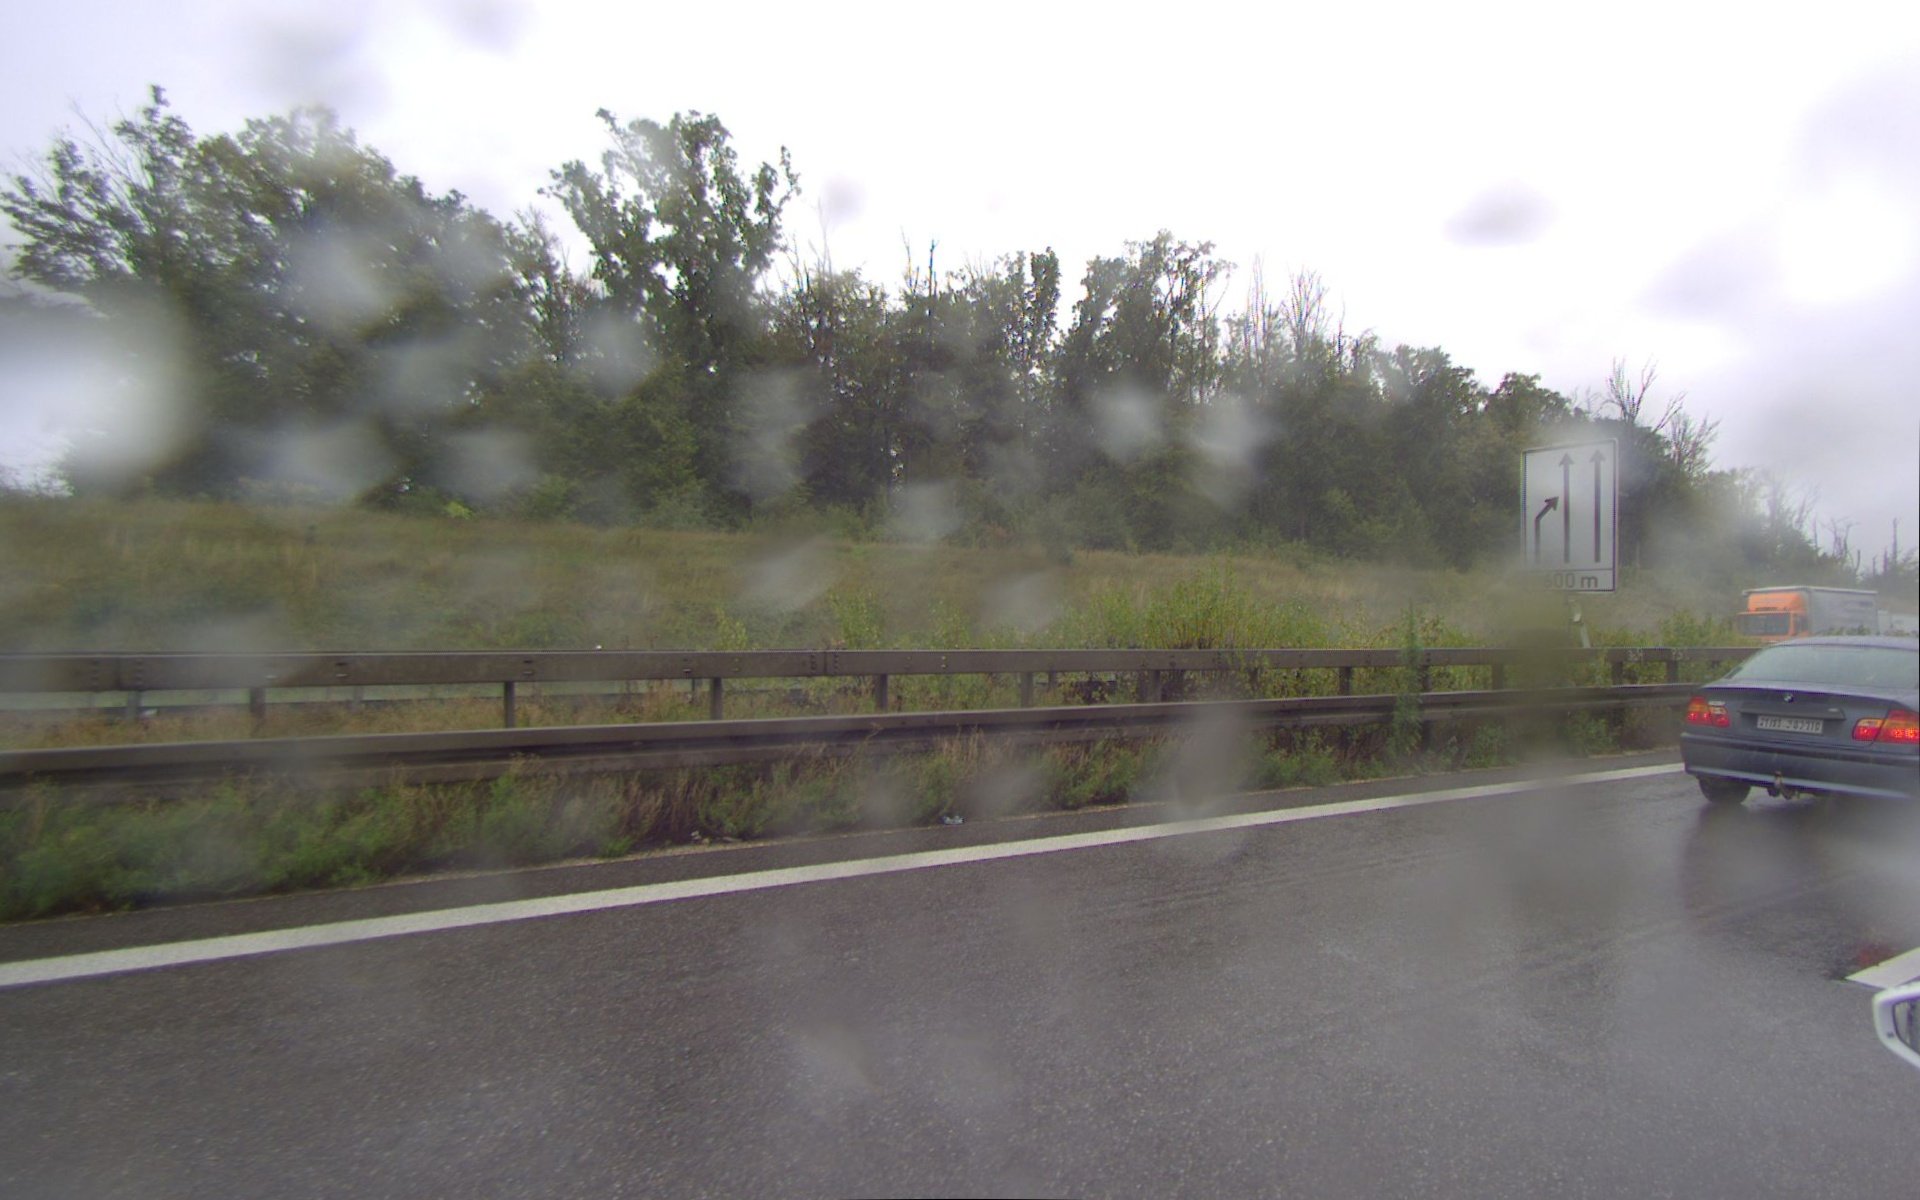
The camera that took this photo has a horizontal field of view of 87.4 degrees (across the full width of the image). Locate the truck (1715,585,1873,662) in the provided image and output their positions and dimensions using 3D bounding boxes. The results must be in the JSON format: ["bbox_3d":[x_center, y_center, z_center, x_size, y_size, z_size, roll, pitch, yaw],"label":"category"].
[{"bbox_3d":[39.107,1.068,46.982,9.150,3.325,2.910,1,0,-31],"label":"truck"}]

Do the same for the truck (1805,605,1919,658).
[{"bbox_3d":[46.465,1.613,51.333,7.803,2.513,2.637,2,0,-31],"label":"truck"}]

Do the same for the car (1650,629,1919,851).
[{"bbox_3d":[7.734,0.980,8.317,4.180,1.418,1.710,1,-1,-30],"label":"car"}]
